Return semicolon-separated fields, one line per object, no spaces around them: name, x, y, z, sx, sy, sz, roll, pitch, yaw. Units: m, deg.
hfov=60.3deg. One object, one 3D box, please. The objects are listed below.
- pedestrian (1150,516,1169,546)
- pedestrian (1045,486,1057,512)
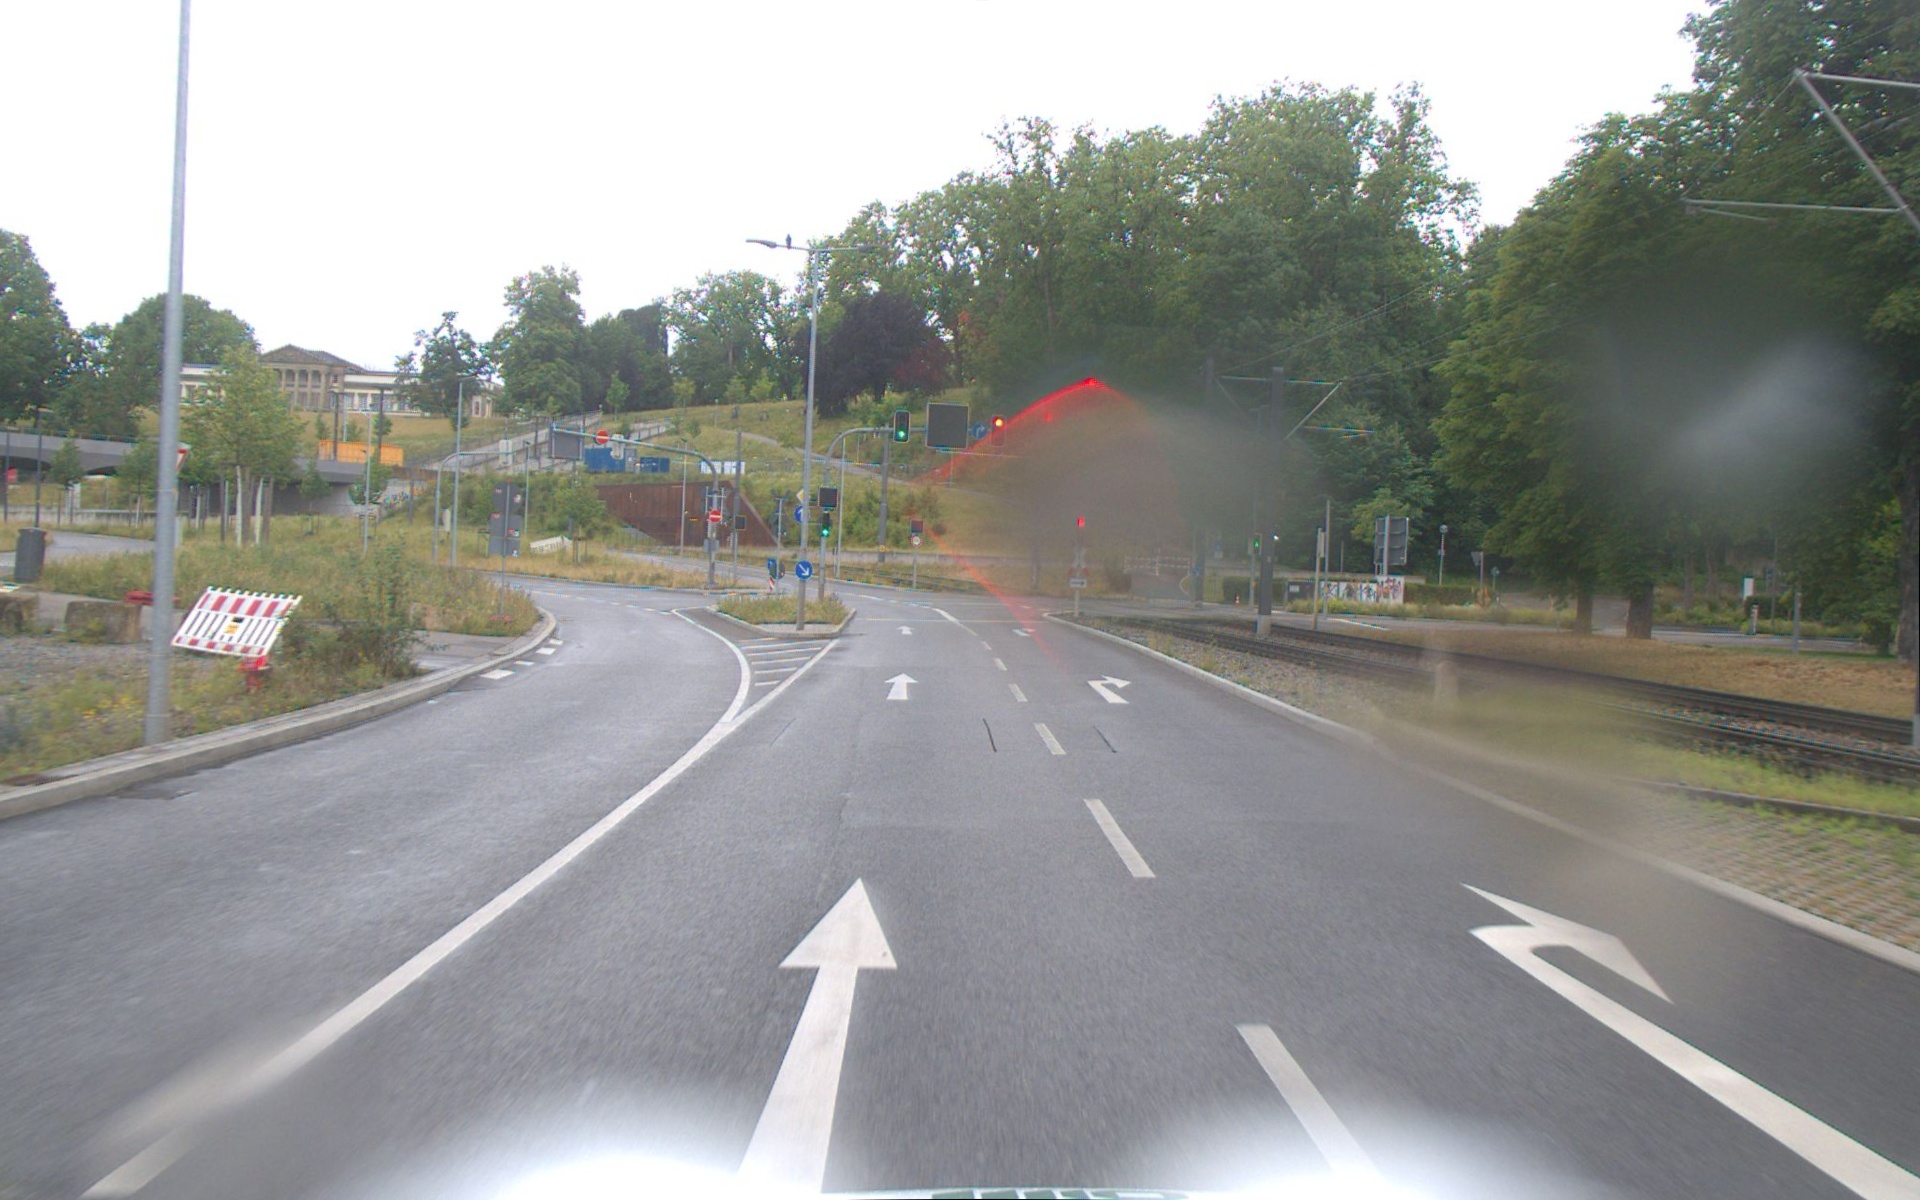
pedestrian;12.529;-4.306;103.769;0.937;1.812;1.124;4;2;11
pedestrian;7.221;-8.070;131.718;0.776;2.047;0.654;-2;7;-17
